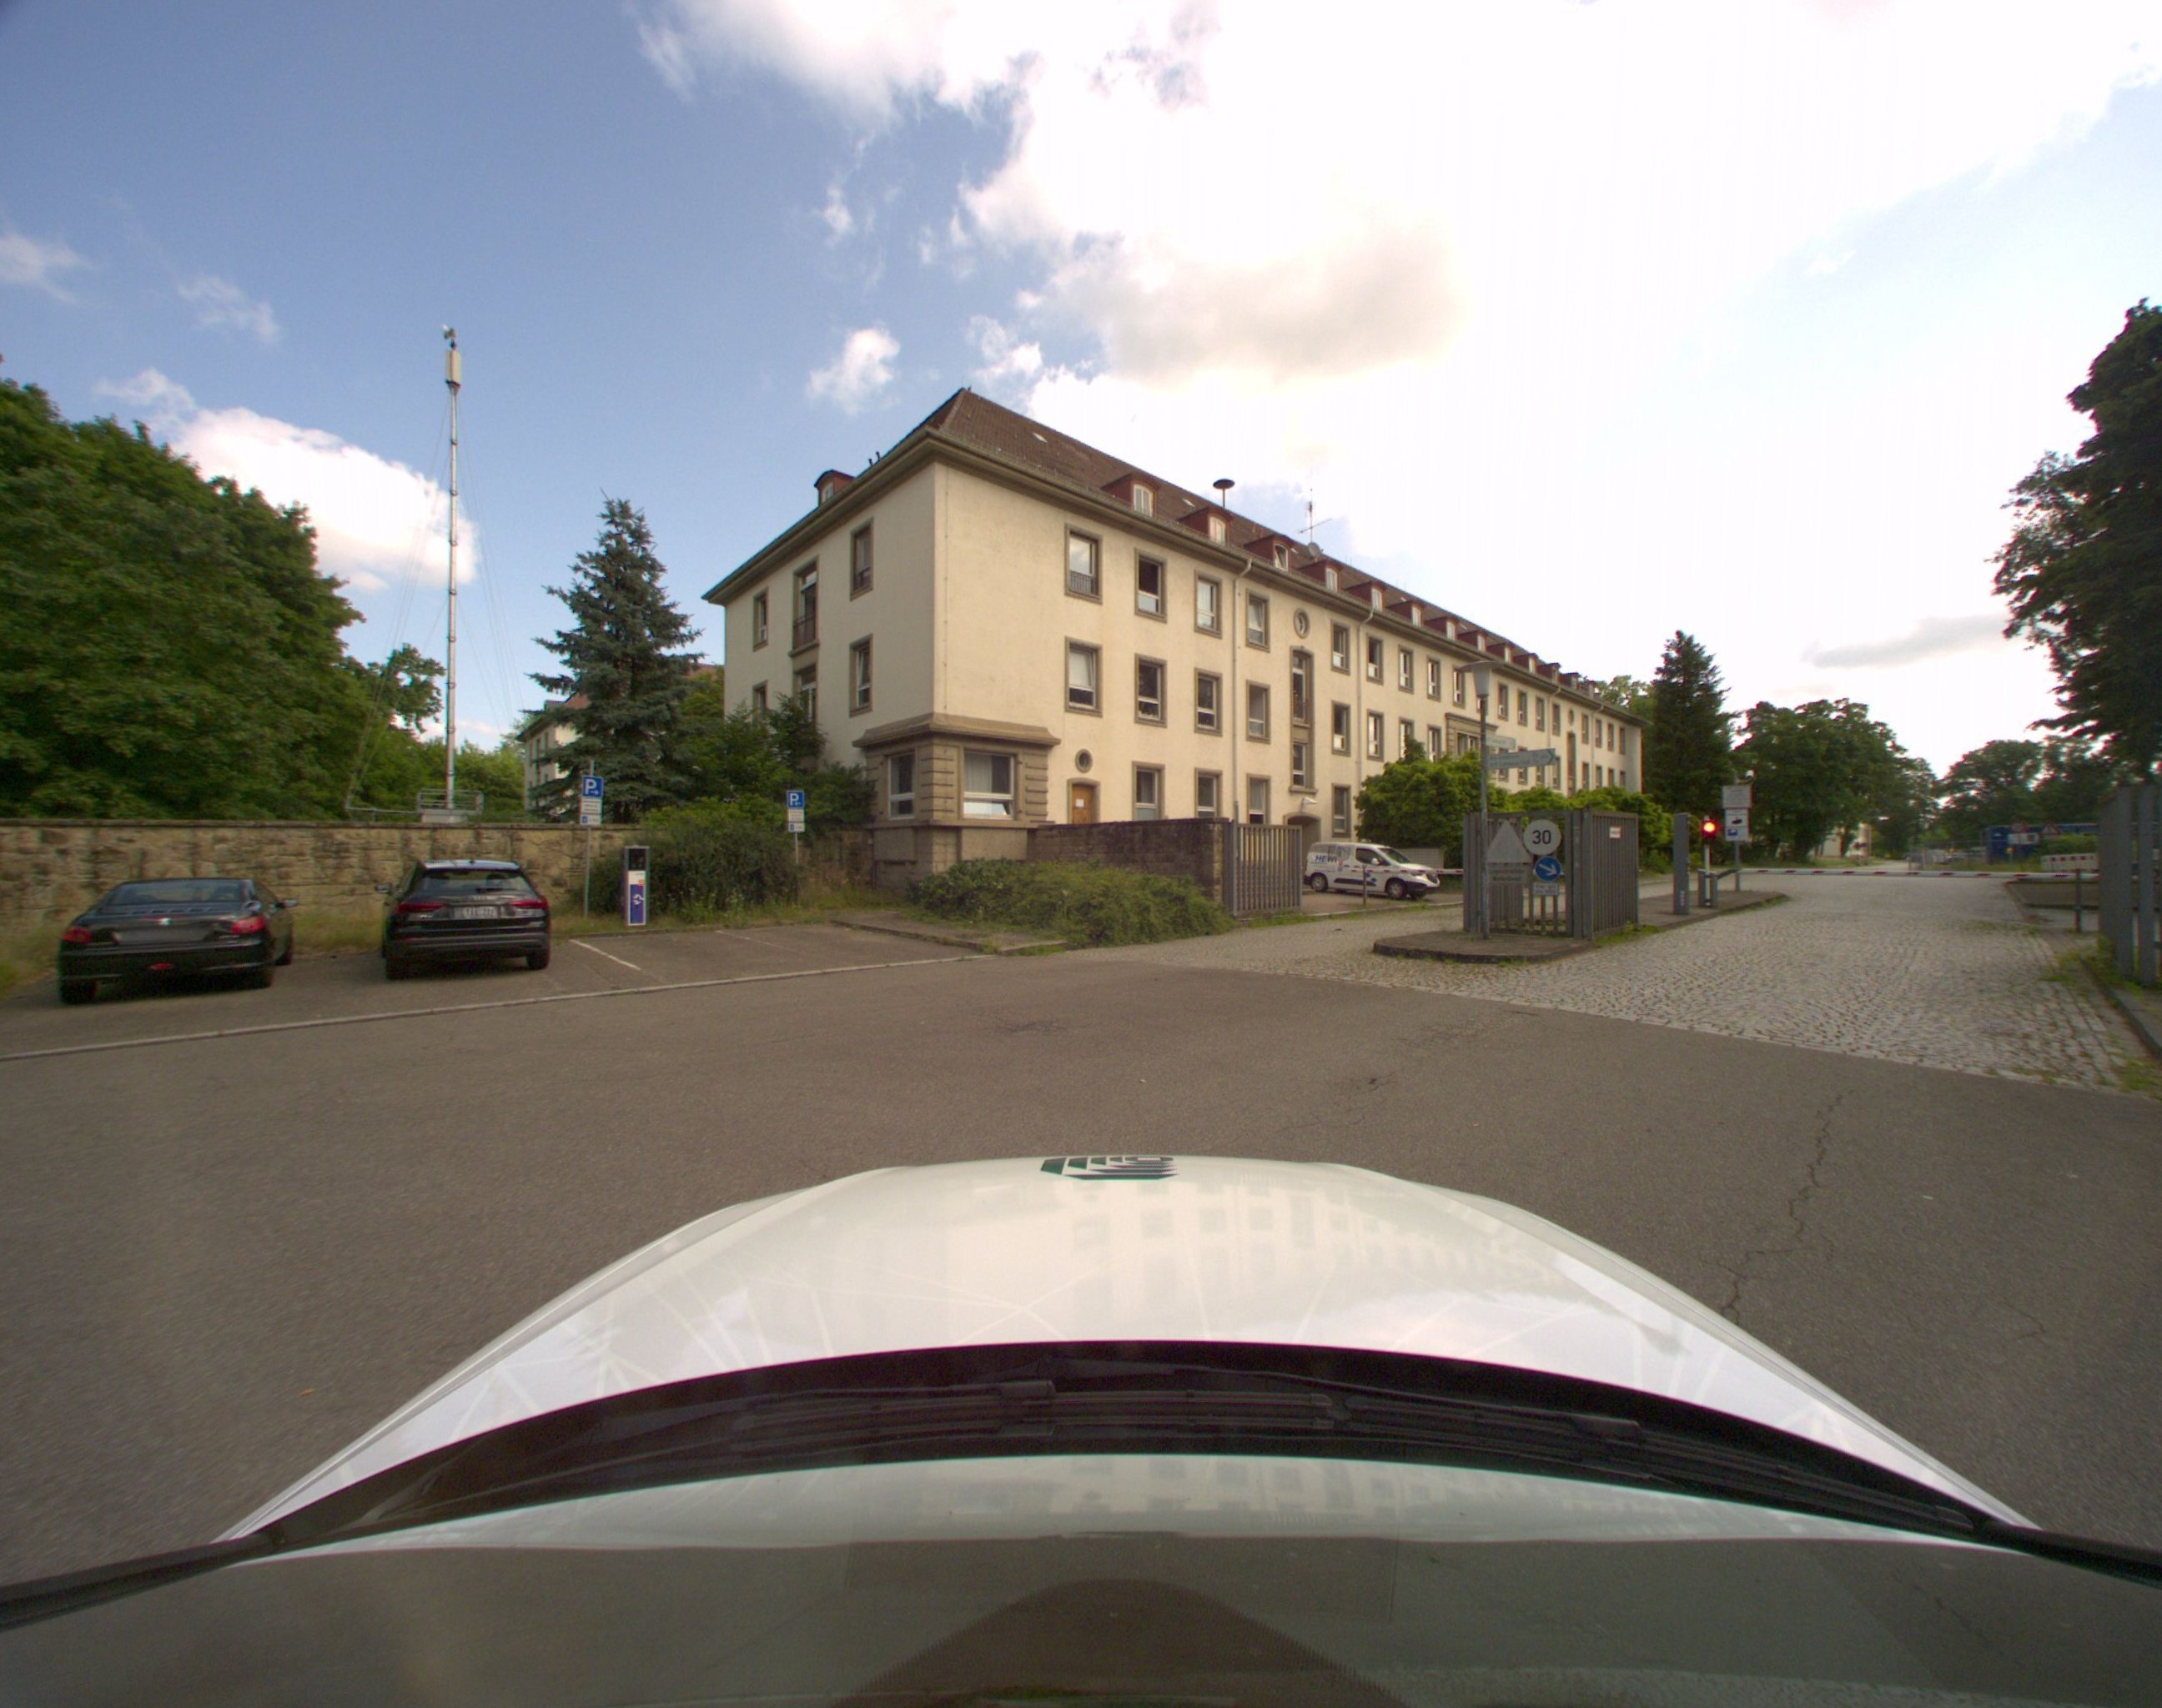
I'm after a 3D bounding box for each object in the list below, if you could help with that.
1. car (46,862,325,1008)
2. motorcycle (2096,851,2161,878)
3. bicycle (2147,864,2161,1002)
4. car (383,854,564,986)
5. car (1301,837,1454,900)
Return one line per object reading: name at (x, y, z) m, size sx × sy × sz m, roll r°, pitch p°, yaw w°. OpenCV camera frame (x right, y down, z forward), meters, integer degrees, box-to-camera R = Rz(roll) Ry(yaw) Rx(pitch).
car at (-11.592, 0.892, 10.878) m, size 1.889 × 1.441 × 3.954 m, roll -1°, pitch 1°, yaw -39°
motorcycle at (49.406, 0.497, 38.360) m, size 0.464 × 1.195 × 1.939 m, roll -7°, pitch 2°, yaw -43°
bicycle at (10.641, 0.711, 6.974) m, size 1.718 × 1.277 × 0.677 m, roll -2°, pitch -2°, yaw 45°
car at (-9.167, 0.822, 12.247) m, size 1.909 × 1.546 × 3.954 m, roll -1°, pitch 1°, yaw -39°
car at (9.940, 0.425, 27.536) m, size 1.870 × 1.750 × 4.397 m, roll -1°, pitch 4°, yaw -45°
